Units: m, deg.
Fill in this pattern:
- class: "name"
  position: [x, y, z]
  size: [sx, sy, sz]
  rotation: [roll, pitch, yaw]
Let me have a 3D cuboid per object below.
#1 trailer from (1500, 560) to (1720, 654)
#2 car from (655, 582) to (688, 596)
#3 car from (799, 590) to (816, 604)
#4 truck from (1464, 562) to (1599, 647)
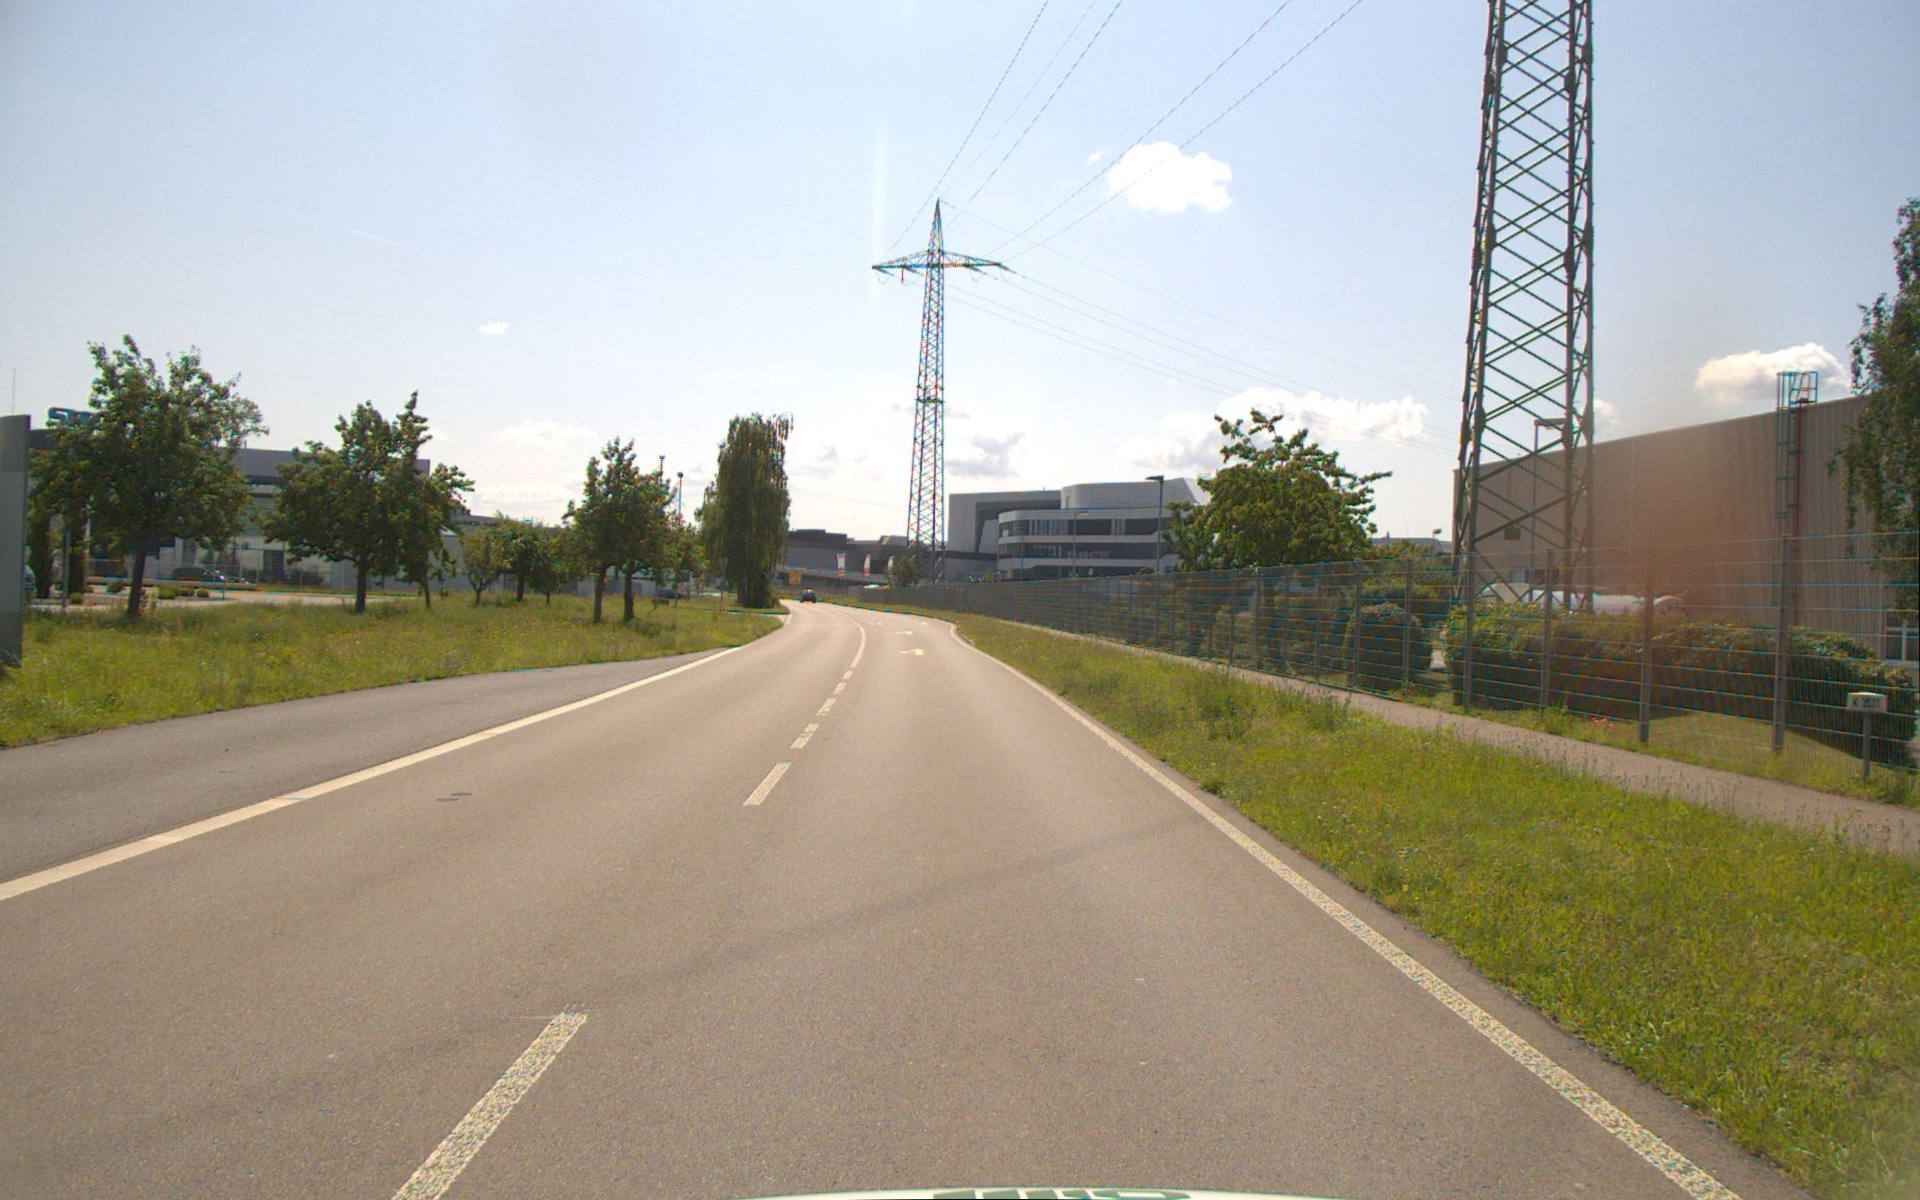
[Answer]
- class: "trailer"
  position: [28.649, 0.218, 73.833]
  size: [3.523, 3.800, 12.215]
  rotation: [1, 0, -8]
- class: "car"
  position: [-35.995, -1.398, 206.570]
  size: [3.913, 1.601, 1.996]
  rotation: [3, 0, -9]
- class: "car"
  position: [-18.430, -0.342, 200.213]
  size: [1.973, 1.534, 3.996]
  rotation: [2, 0, -5]
- class: "truck"
  position: [27.715, 0.198, 80.527]
  size: [3.529, 3.935, 6.392]
  rotation: [1, 0, -10]
